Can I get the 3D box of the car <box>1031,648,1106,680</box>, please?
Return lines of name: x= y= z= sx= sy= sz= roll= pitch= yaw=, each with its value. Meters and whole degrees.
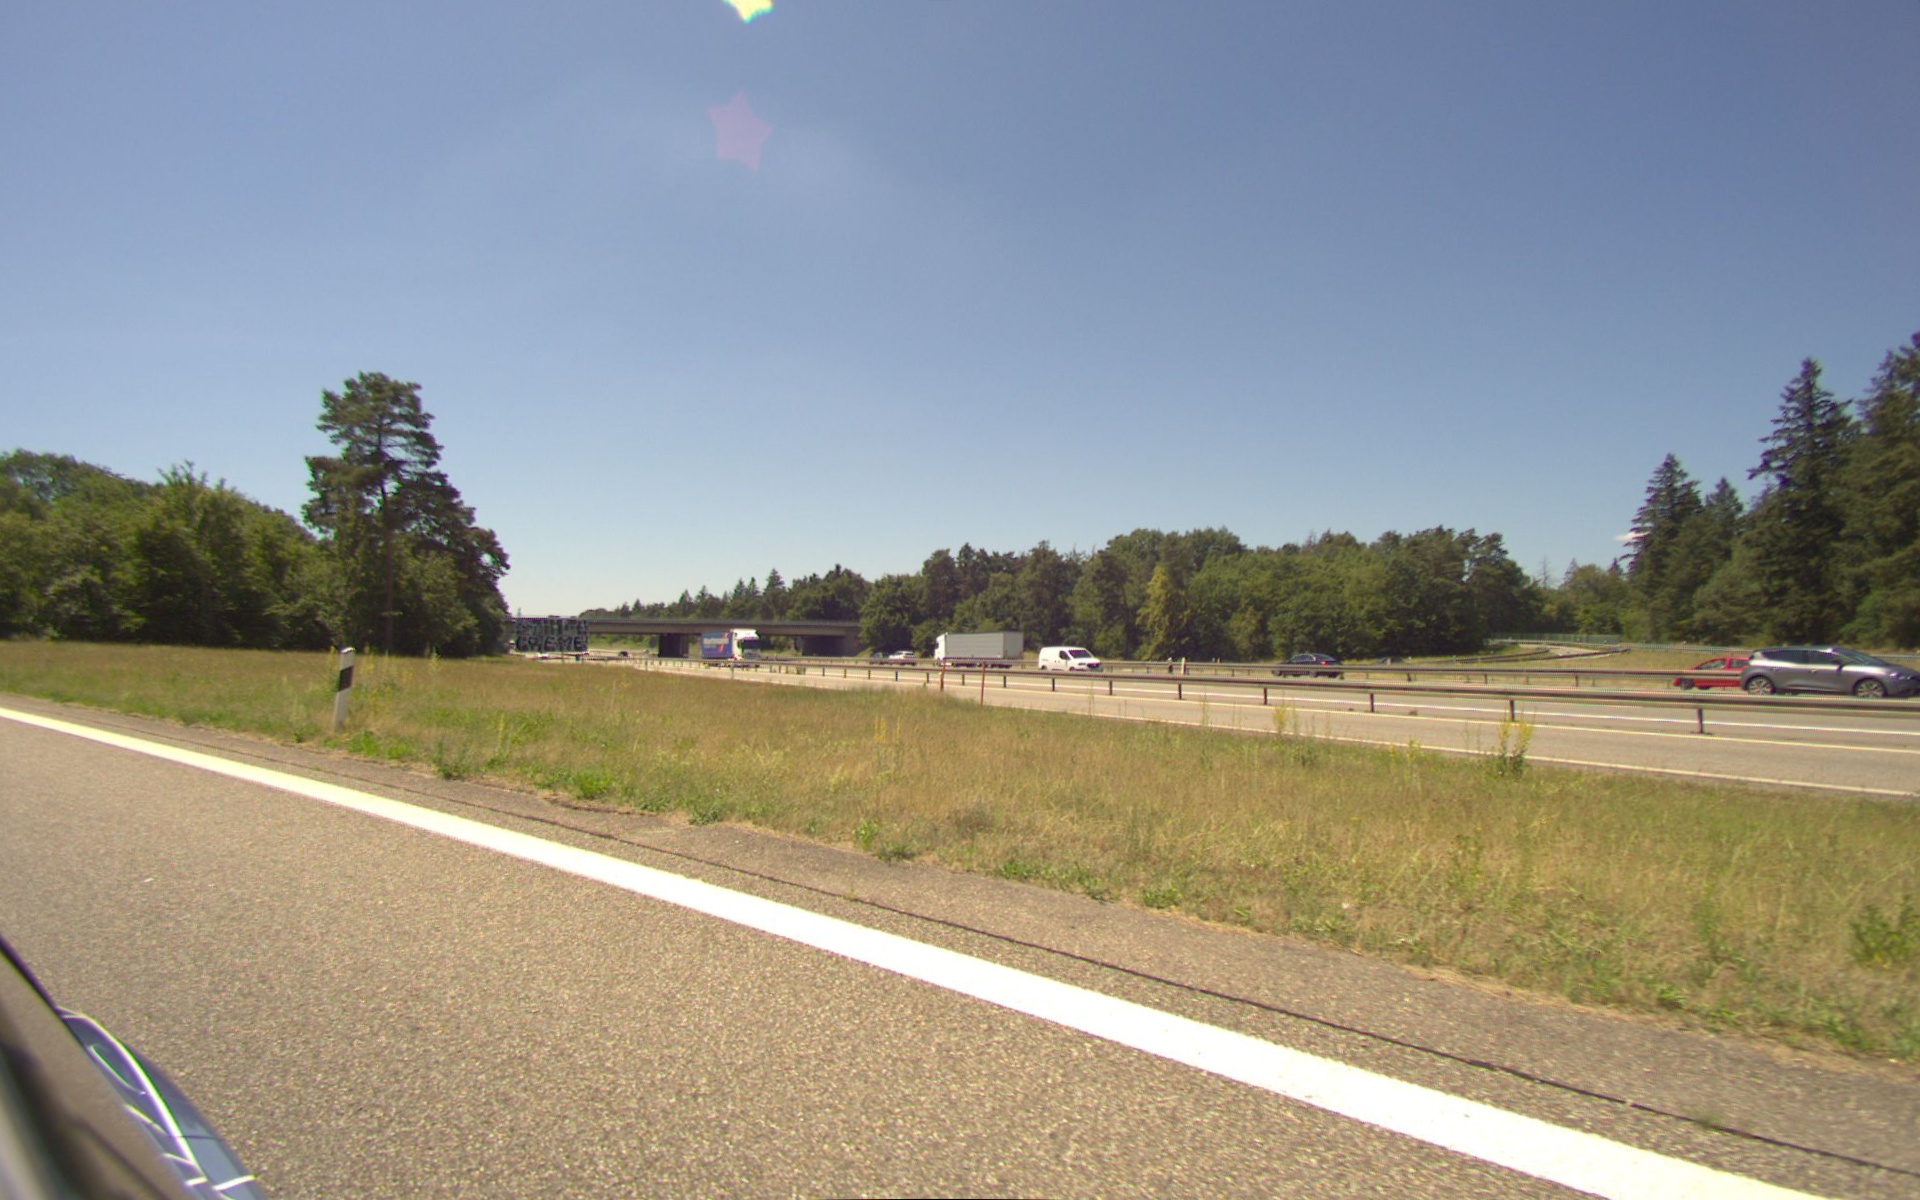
car: x=6.188 y=3.650 z=58.424 sx=1.747 sy=1.767 sz=5.035 roll=1 pitch=-3 yaw=-28

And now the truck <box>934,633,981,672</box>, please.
truck: x=-0.323 y=6.134 z=118.364 sx=2.897 sy=4.426 sz=6.291 roll=3 pitch=-4 yaw=-26

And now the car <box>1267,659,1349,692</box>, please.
car: x=20.457 y=4.450 z=59.690 sx=1.965 sy=1.863 sz=4.371 roll=2 pitch=-5 yaw=-27

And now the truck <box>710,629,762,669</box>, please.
truck: x=-24.347 y=5.337 z=109.527 sx=2.665 sy=4.089 sz=11.081 roll=1 pitch=-3 yaw=-28

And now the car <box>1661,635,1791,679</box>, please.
car: x=32.949 y=2.434 z=43.654 sx=1.933 sy=1.741 sz=4.012 roll=4 pitch=-4 yaw=-28

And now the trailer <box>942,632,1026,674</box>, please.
trailer: x=2.431 y=5.871 z=112.842 sx=2.883 sy=4.421 sz=14.342 roll=3 pitch=-4 yaw=-27

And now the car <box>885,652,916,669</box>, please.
car: x=-6.658 y=6.785 z=112.781 sx=1.965 sy=1.863 sz=4.371 roll=2 pitch=-5 yaw=-27

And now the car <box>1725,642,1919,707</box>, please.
car: x=25.677 y=2.111 z=29.691 sx=1.747 sy=1.697 sz=4.840 roll=1 pitch=-2 yaw=-28

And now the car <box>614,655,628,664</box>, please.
car: x=-67.414 y=11.850 z=201.309 sx=1.965 sy=1.730 sz=4.013 roll=1 pitch=-3 yaw=-27
